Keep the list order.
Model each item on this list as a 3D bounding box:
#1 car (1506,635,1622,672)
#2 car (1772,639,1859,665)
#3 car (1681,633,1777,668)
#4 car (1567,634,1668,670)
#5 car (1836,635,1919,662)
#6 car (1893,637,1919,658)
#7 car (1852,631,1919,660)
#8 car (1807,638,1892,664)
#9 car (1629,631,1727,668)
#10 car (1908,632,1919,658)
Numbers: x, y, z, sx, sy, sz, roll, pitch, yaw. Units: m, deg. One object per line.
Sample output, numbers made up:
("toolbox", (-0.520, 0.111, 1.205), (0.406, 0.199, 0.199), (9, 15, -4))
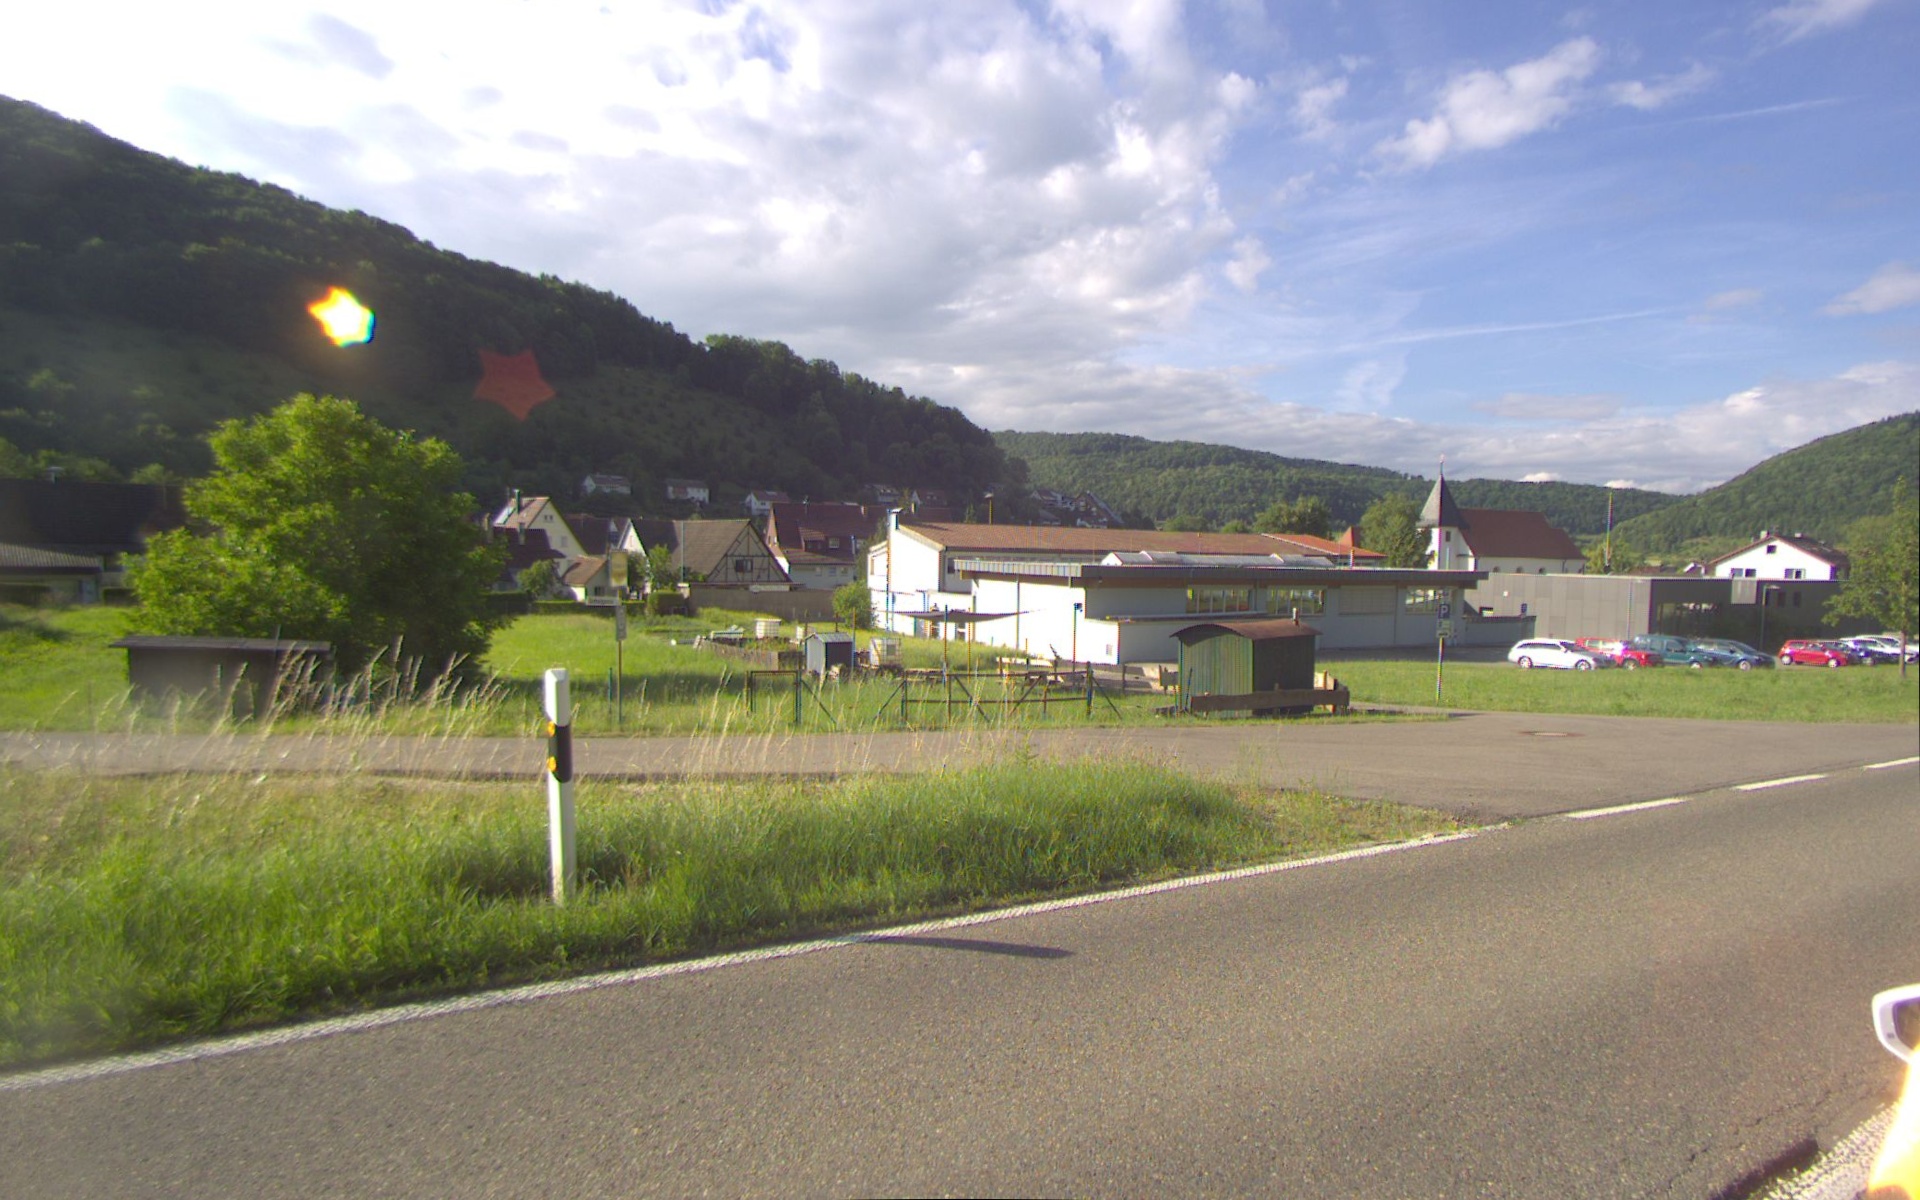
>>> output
("car", (29.948, 2.613, 49.943), (1.974, 1.610, 4.624), (1, -1, -26))
("car", (50.804, 3.063, 59.720), (1.626, 1.463, 3.613), (1, -1, -26))
("car", (42.038, 2.739, 54.974), (1.709, 1.744, 3.804), (1, -1, -26))
("car", (32.937, 2.582, 50.426), (1.733, 1.600, 3.906), (1, -1, -26))
("car", (58.114, 3.057, 63.584), (1.575, 1.513, 3.654), (2, -2, -25))
("car", (65.862, 3.228, 68.279), (1.642, 1.392, 3.349), (1, -1, -33))
("car", (60.842, 2.941, 65.283), (1.575, 1.695, 4.064), (0, 0, -25))
("car", (55.212, 3.154, 62.402), (1.576, 1.423, 3.613), (4, -2, -25))
("car", (37.826, 2.564, 53.025), (1.734, 1.745, 3.845), (1, 0, -28))
("car", (68.506, 3.125, 69.069), (1.816, 1.839, 4.539), (1, -1, -25))
